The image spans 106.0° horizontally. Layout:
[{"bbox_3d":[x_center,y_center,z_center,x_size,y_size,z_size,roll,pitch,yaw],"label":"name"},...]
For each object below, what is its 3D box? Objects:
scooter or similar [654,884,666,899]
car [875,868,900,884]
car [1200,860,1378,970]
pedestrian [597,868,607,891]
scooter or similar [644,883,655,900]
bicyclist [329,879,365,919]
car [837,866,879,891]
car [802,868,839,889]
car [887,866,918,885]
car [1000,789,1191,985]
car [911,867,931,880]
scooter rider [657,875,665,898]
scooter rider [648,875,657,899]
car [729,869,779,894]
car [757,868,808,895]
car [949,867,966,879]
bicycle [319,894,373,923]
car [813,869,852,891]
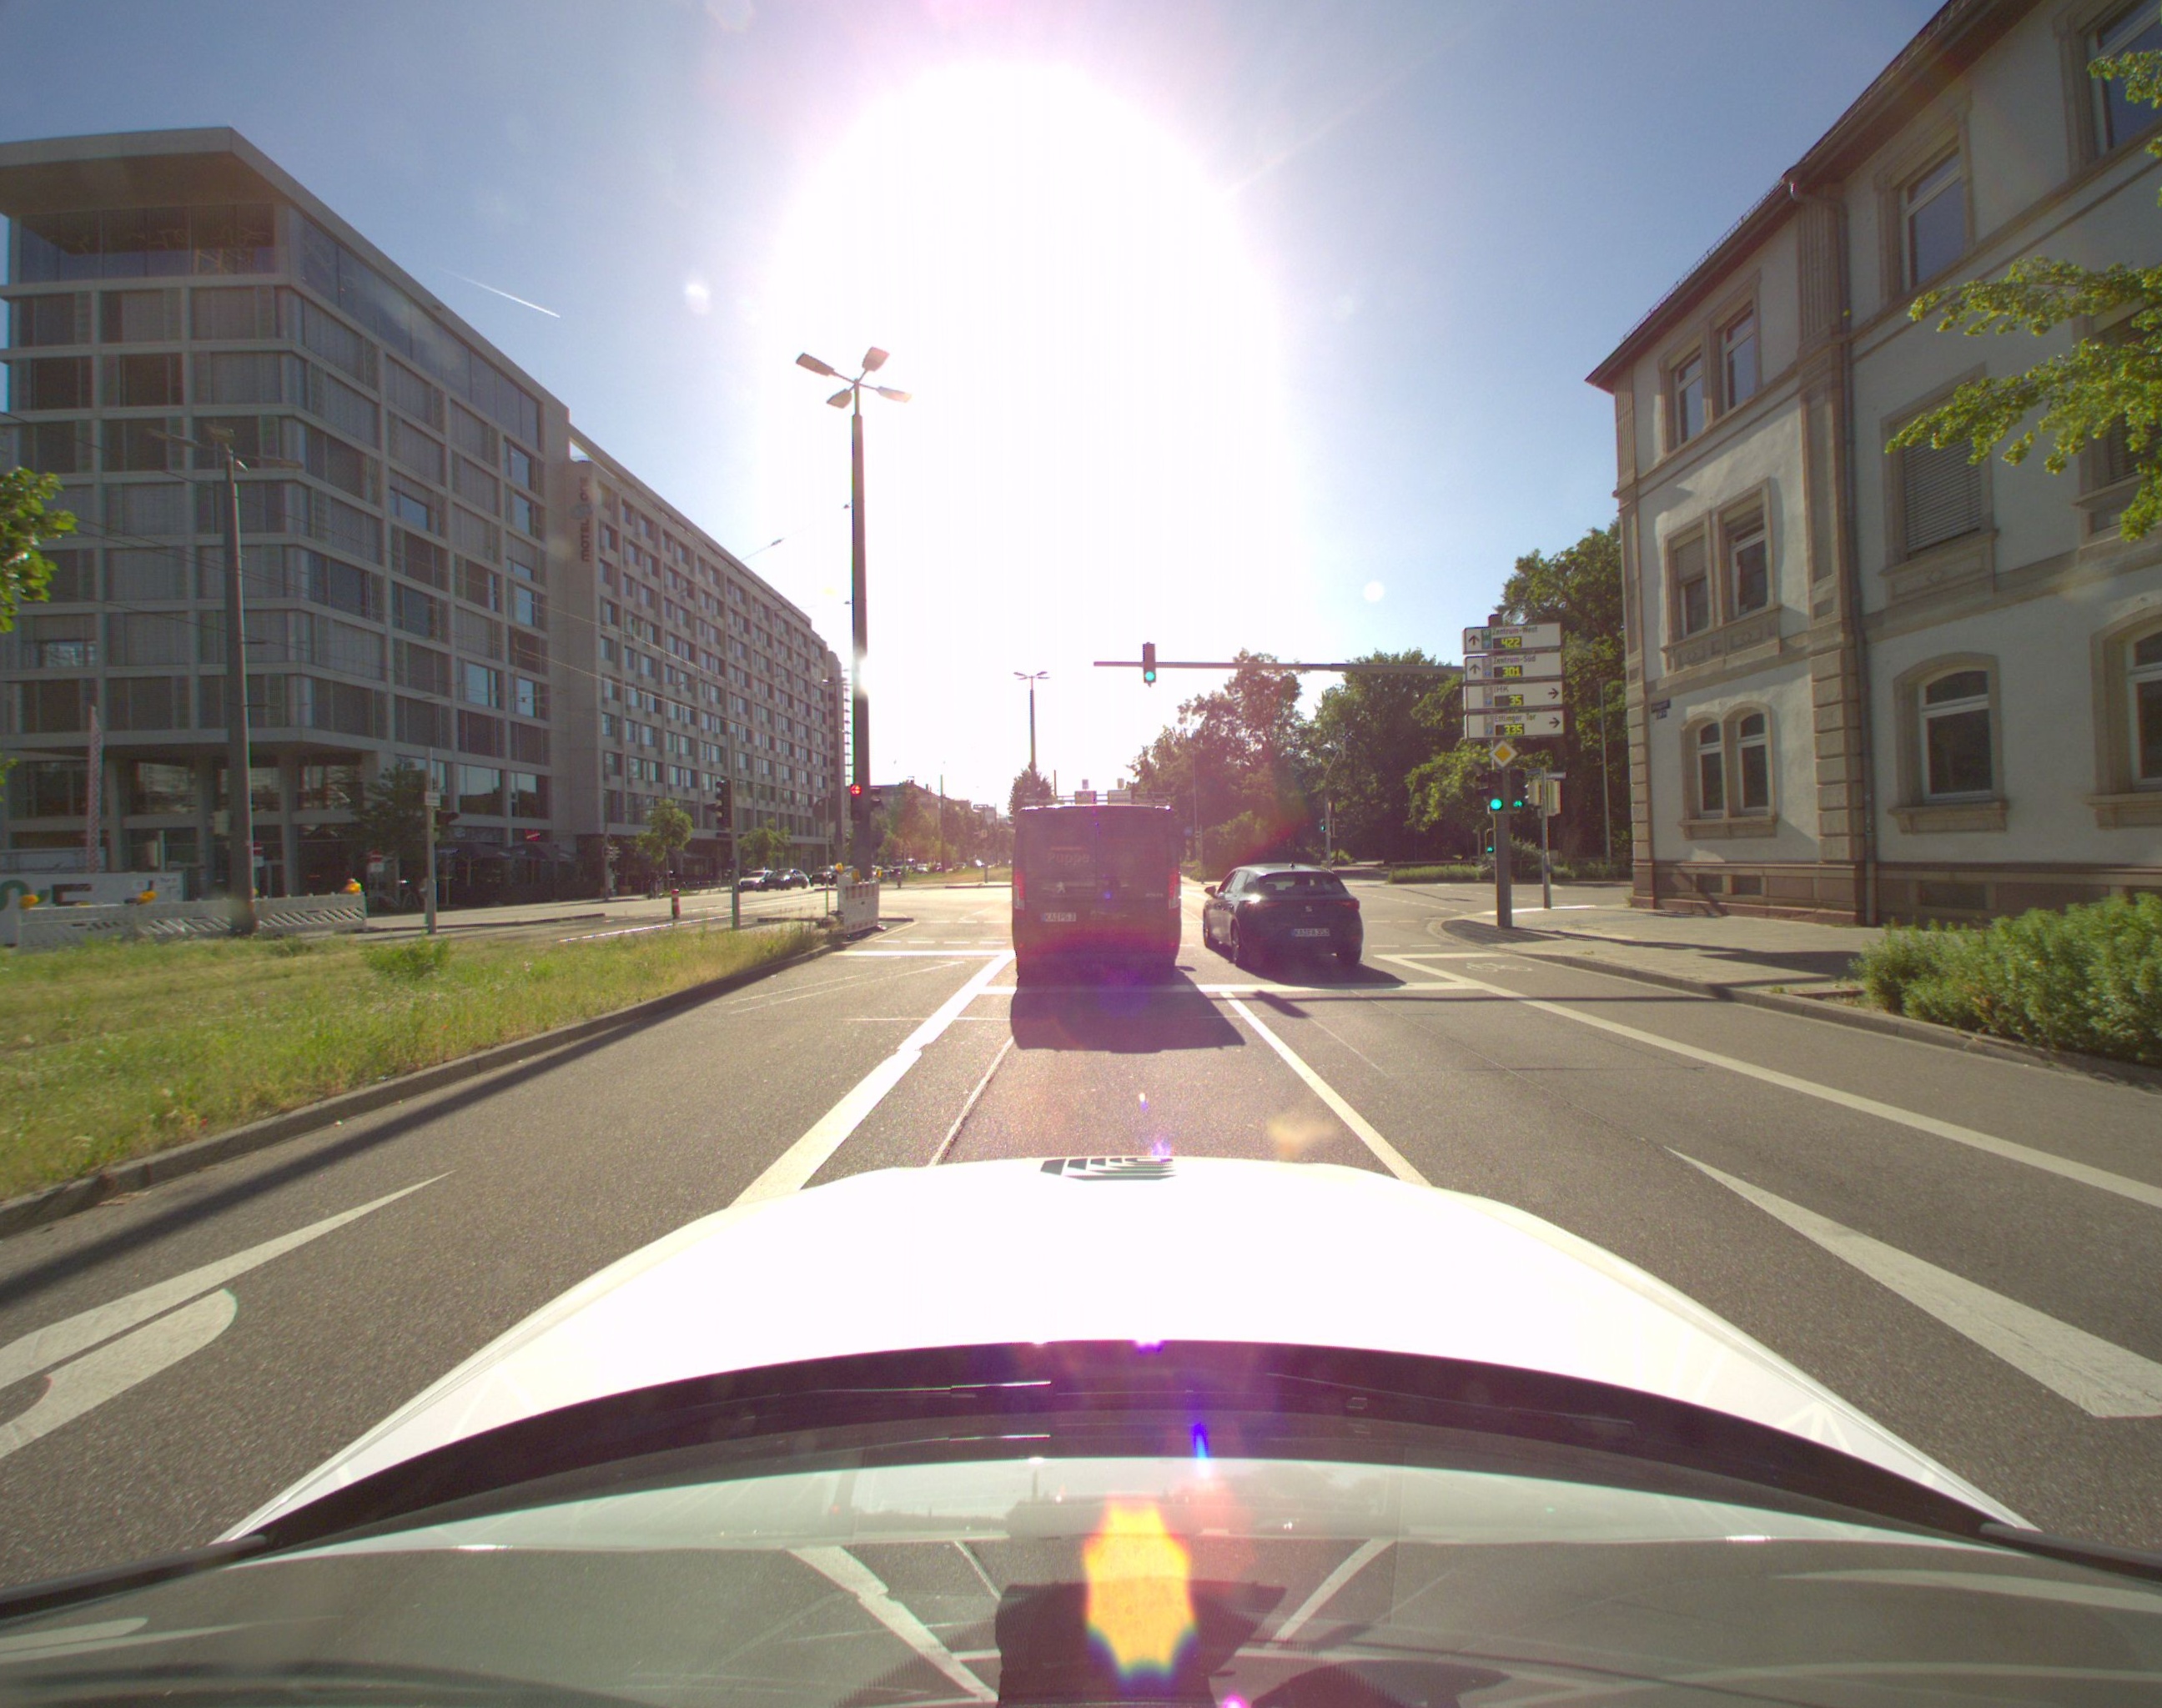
[{"bbox_3d":[-26.699,2.370,51.622,0.284,0.947,0.769,-2,0,8],"label":"scooter or similar"},{"bbox_3d":[-22.290,2.506,93.967,1.783,1.651,4.002,-2,0,2],"label":"car"},{"bbox_3d":[3.016,0.820,12.651,1.786,1.428,3.849,0,-1,0],"label":"car"},{"bbox_3d":[-31.819,1.666,54.060,0.415,1.494,0.343,-2,0,1],"label":"pedestrian"},{"bbox_3d":[-26.233,2.280,49.531,0.227,0.947,0.768,-2,0,2],"label":"scooter or similar"},{"bbox_3d":[-29.991,1.821,33.291,0.590,1.580,0.894,0,-1,5],"label":"bicyclist"},{"bbox_3d":[-16.572,1.797,60.735,1.783,1.651,4.337,-2,0,2],"label":"car"},{"bbox_3d":[-22.682,2.130,71.098,1.783,1.651,4.002,-2,0,2],"label":"car"},{"bbox_3d":[-16.418,1.948,75.157,1.783,1.651,4.002,-2,0,2],"label":"car"},{"bbox_3d":[0.190,0.369,11.682,2.210,2.267,4.484,0,0,0],"label":"car"},{"bbox_3d":[-21.690,2.594,110.536,1.783,1.651,4.002,-2,0,2],"label":"car"},{"bbox_3d":[-26.599,2.051,51.558,0.341,1.453,0.239,-2,-1,1],"label":"scooter rider"},{"bbox_3d":[-26.096,1.990,49.585,0.341,1.453,0.239,-2,-1,1],"label":"scooter rider"},{"bbox_3d":[-23.071,1.918,57.632,1.783,1.651,4.002,-2,0,2],"label":"car"},{"bbox_3d":[-20.170,1.823,55.190,1.783,1.651,4.002,-2,0,2],"label":"car"},{"bbox_3d":[-18.169,2.739,119.768,1.783,1.651,4.002,-2,0,2],"label":"car"},{"bbox_3d":[-30.018,2.216,33.293,0.584,1.100,1.625,0,-1,5],"label":"bicycle"},{"bbox_3d":[-20.195,2.079,66.317,1.783,1.651,4.002,-2,0,2],"label":"car"}]
